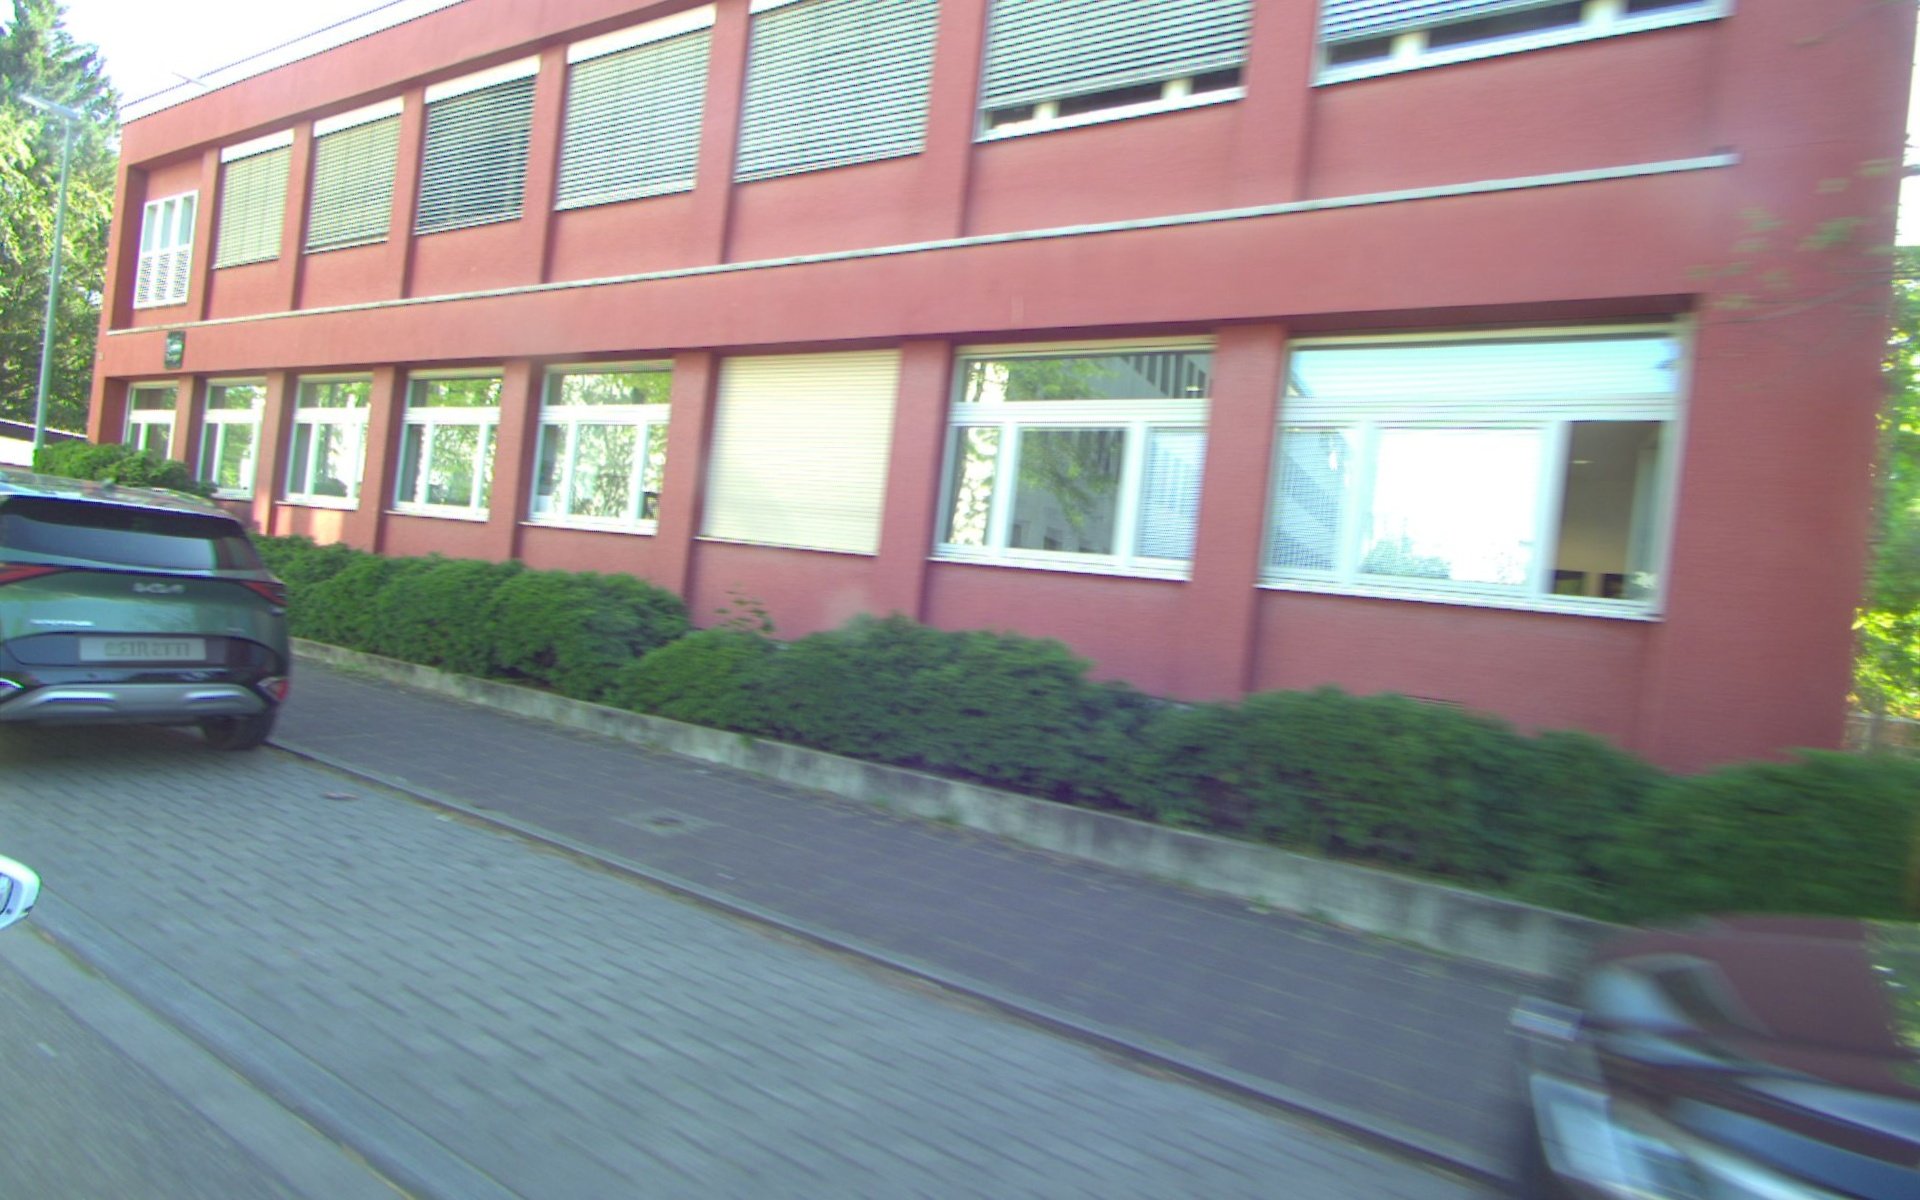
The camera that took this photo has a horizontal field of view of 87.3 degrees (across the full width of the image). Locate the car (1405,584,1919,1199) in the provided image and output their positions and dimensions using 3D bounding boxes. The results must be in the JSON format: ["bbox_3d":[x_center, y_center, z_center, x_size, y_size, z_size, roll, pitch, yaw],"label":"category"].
[{"bbox_3d":[2.917,1.073,1.029,4.333,1.650,1.876,7,0,32],"label":"car"}]

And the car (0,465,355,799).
[{"bbox_3d":[-6.200,0.005,6.667,4.300,1.650,1.900,7,0,32],"label":"car"}]
